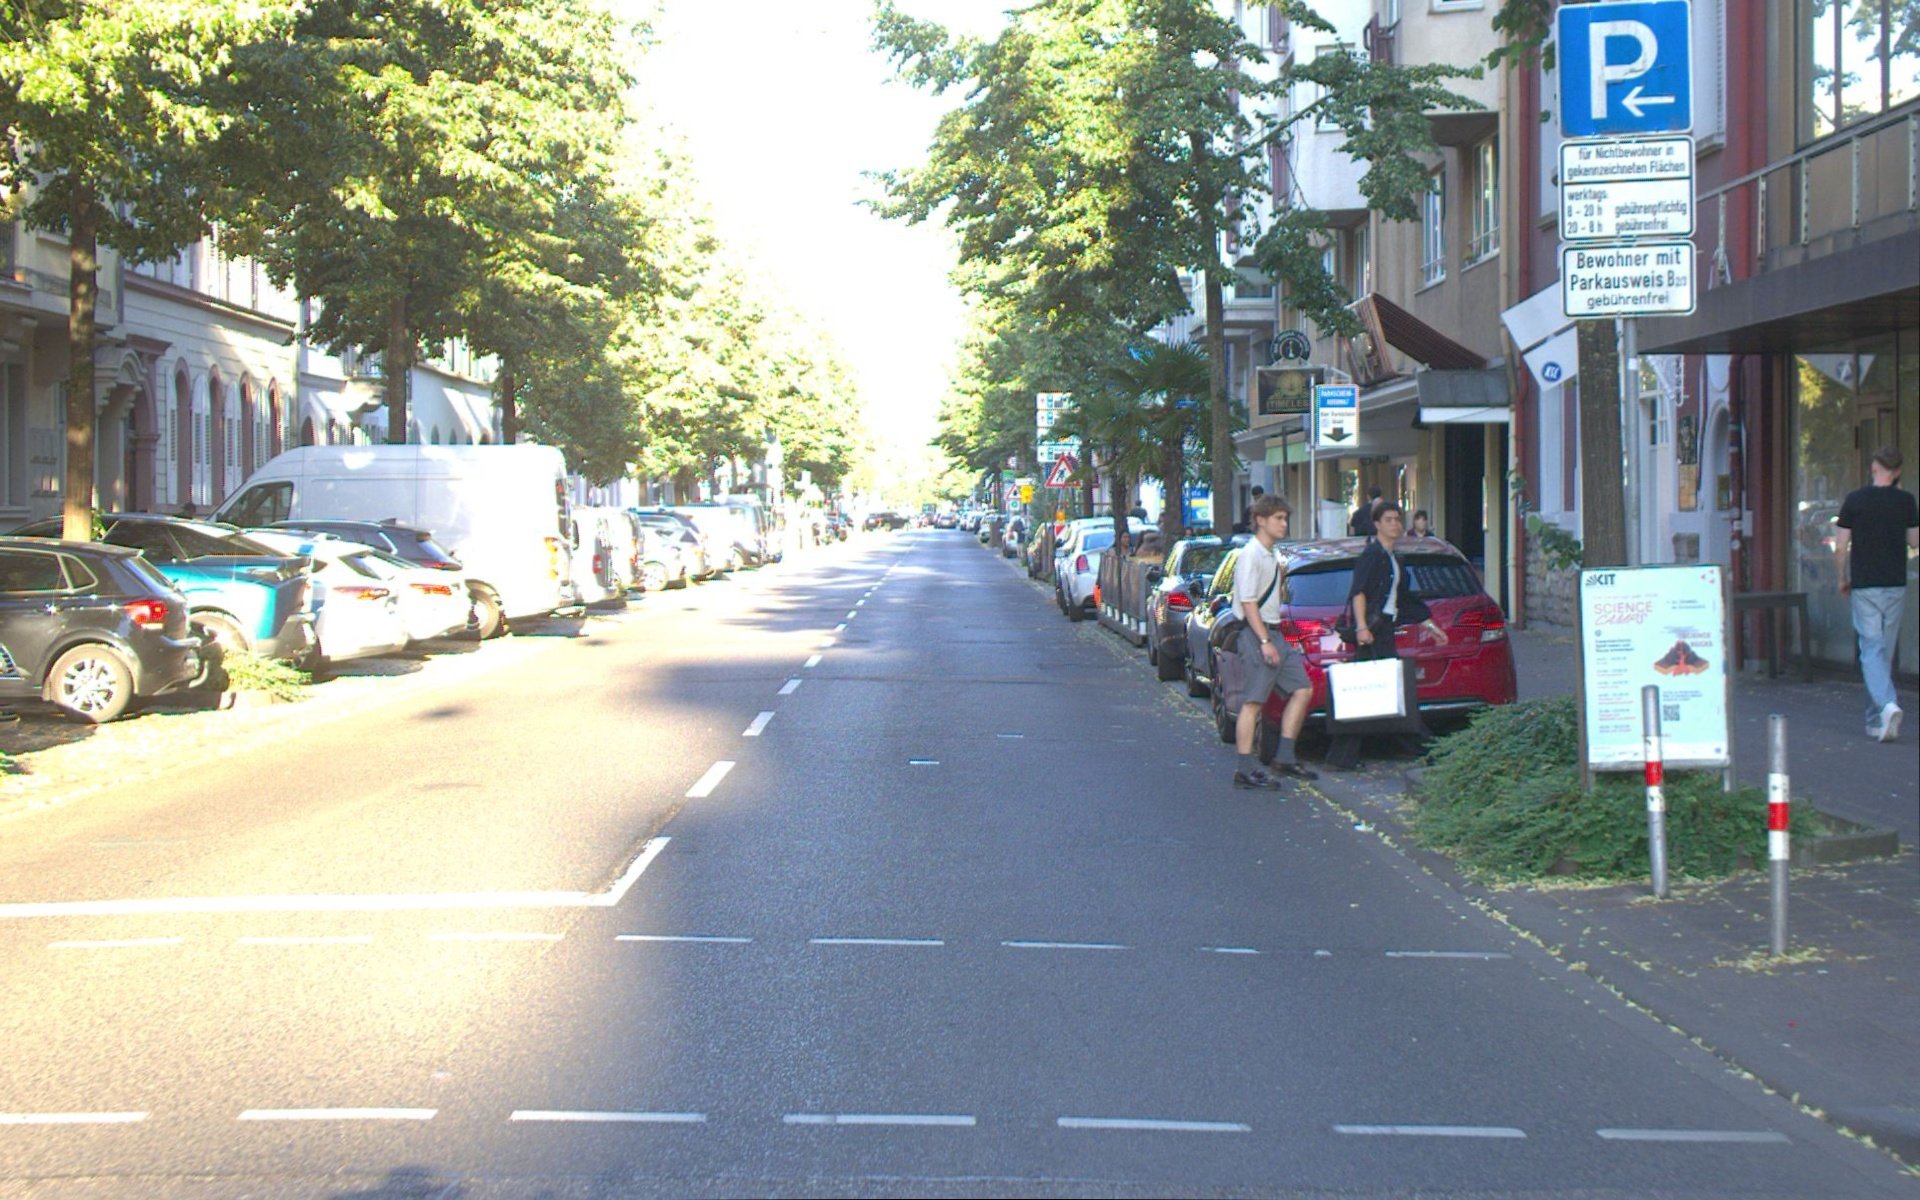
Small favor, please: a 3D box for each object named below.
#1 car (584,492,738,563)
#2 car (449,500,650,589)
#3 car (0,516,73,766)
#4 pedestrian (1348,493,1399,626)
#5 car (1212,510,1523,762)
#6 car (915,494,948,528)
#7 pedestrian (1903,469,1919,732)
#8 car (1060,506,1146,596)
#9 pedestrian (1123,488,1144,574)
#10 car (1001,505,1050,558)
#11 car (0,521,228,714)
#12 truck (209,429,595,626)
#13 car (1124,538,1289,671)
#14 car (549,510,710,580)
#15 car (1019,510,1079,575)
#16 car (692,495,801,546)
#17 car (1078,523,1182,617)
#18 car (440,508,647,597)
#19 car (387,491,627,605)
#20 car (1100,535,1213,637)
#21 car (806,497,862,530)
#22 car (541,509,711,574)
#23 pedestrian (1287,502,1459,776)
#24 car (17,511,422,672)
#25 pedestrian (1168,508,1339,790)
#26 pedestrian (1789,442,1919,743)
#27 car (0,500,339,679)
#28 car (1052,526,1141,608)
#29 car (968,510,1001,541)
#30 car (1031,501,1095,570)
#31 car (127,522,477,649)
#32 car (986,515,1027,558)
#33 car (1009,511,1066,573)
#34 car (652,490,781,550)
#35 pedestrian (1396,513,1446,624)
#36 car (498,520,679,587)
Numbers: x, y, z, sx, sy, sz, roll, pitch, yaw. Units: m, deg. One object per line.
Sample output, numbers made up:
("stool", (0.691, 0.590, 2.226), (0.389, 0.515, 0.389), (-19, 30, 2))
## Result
("car", (-7.566, -1.851, 87.321), (3.739, 1.702, 2.000), (1, 2, -1))
("car", (-8.040, -1.100, 67.649), (3.739, 1.702, 2.000), (0, 1, -1))
("car", (-8.343, 0.233, 22.769), (4.426, 1.594, 2.000), (0, 1, -1))
("pedestrian", (5.093, -0.500, 42.351), (0.534, 1.616, 0.534), (1, 2, 0))
("car", (2.786, 0.191, 24.123), (1.576, 1.537, 3.398), (-2, 2, -3))
("car", (-1.733, -5.403, 208.763), (1.575, 2.006, 3.115), (1, 2, -7))
("pedestrian", (6.506, -0.003, 21.783), (0.765, 1.683, 0.786), (-2, 2, -2))
("car", (2.608, -0.903, 63.202), (1.308, 1.594, 2.661), (1, 1, -3))
("pedestrian", (4.097, -1.633, 81.226), (0.449, 2.006, 0.424), (1, 2, -1))
("car", (1.995, -2.110, 105.707), (1.308, 1.594, 2.661), (1, 1, -3))
("car", (-8.331, 0.110, 27.775), (4.426, 1.498, 2.000), (0, 1, -1))
("truck", (-7.523, -0.984, 46.736), (4.940, 2.606, 2.000), (0, 1, -1))
("car", (2.536, 0.024, 35.826), (1.304, 1.288, 3.014), (2, 1, -3))
("car", (-8.038, -1.349, 83.834), (3.739, 1.702, 2.000), (0, 1, -1))
("car", (2.256, -1.454, 87.334), (1.308, 1.594, 2.661), (1, 1, -3))
("car", (-7.567, -2.825, 121.952), (3.739, 1.702, 2.000), (1, 2, -1))
("car", (2.415, -0.434, 49.210), (1.206, 1.296, 2.661), (1, 1, -3))
("car", (-7.558, -0.876, 62.597), (3.586, 1.589, 1.701), (0, 1, -1))
("car", (-7.489, -0.869, 57.107), (3.739, 1.852, 2.000), (0, 1, -1))
("car", (2.594, -0.201, 45.757), (1.206, 1.296, 2.661), (1, 1, -3))
("car", (-7.917, -5.433, 216.650), (3.107, 2.006, 1.579), (2, 2, 23))
("car", (-7.702, -1.357, 79.515), (3.739, 1.487, 2.000), (0, 1, -1))
("pedestrian", (2.603, 0.228, 21.675), (0.721, 1.677, 0.757), (-1, 3, -40))
("car", (-7.538, -0.108, 35.283), (3.739, 1.590, 2.000), (0, 1, -1))
("pedestrian", (1.786, 0.281, 20.942), (0.714, 1.667, 0.710), (0, 2, -40))
("pedestrian", (5.735, -0.058, 21.826), (0.714, 1.859, 0.680), (-2, 2, -3))
("car", (-7.912, -0.121, 32.486), (3.739, 1.636, 2.000), (0, 1, -1))
("car", (2.205, -0.541, 56.000), (1.206, 1.296, 2.661), (1, 1, -3))
("car", (1.320, -4.029, 185.693), (1.576, 1.573, 3.114), (1, 2, -2))
("car", (2.454, -1.535, 82.214), (1.308, 1.594, 2.661), (1, 1, -3))
("car", (-7.665, -0.185, 40.331), (3.739, 1.444, 2.000), (0, 1, -1))
("car", (1.733, -2.371, 128.774), (1.308, 1.594, 2.661), (1, 1, -3))
("car", (2.051, -1.545, 91.441), (1.308, 1.594, 2.661), (1, 1, -3))
("car", (-7.301, -2.410, 103.212), (3.739, 1.702, 2.000), (1, 2, -1))
("pedestrian", (5.733, -0.395, 42.764), (0.534, 1.356, 0.534), (1, 2, 0))
("car", (-8.062, -1.023, 74.808), (3.739, 1.444, 2.000), (0, 1, -1))
